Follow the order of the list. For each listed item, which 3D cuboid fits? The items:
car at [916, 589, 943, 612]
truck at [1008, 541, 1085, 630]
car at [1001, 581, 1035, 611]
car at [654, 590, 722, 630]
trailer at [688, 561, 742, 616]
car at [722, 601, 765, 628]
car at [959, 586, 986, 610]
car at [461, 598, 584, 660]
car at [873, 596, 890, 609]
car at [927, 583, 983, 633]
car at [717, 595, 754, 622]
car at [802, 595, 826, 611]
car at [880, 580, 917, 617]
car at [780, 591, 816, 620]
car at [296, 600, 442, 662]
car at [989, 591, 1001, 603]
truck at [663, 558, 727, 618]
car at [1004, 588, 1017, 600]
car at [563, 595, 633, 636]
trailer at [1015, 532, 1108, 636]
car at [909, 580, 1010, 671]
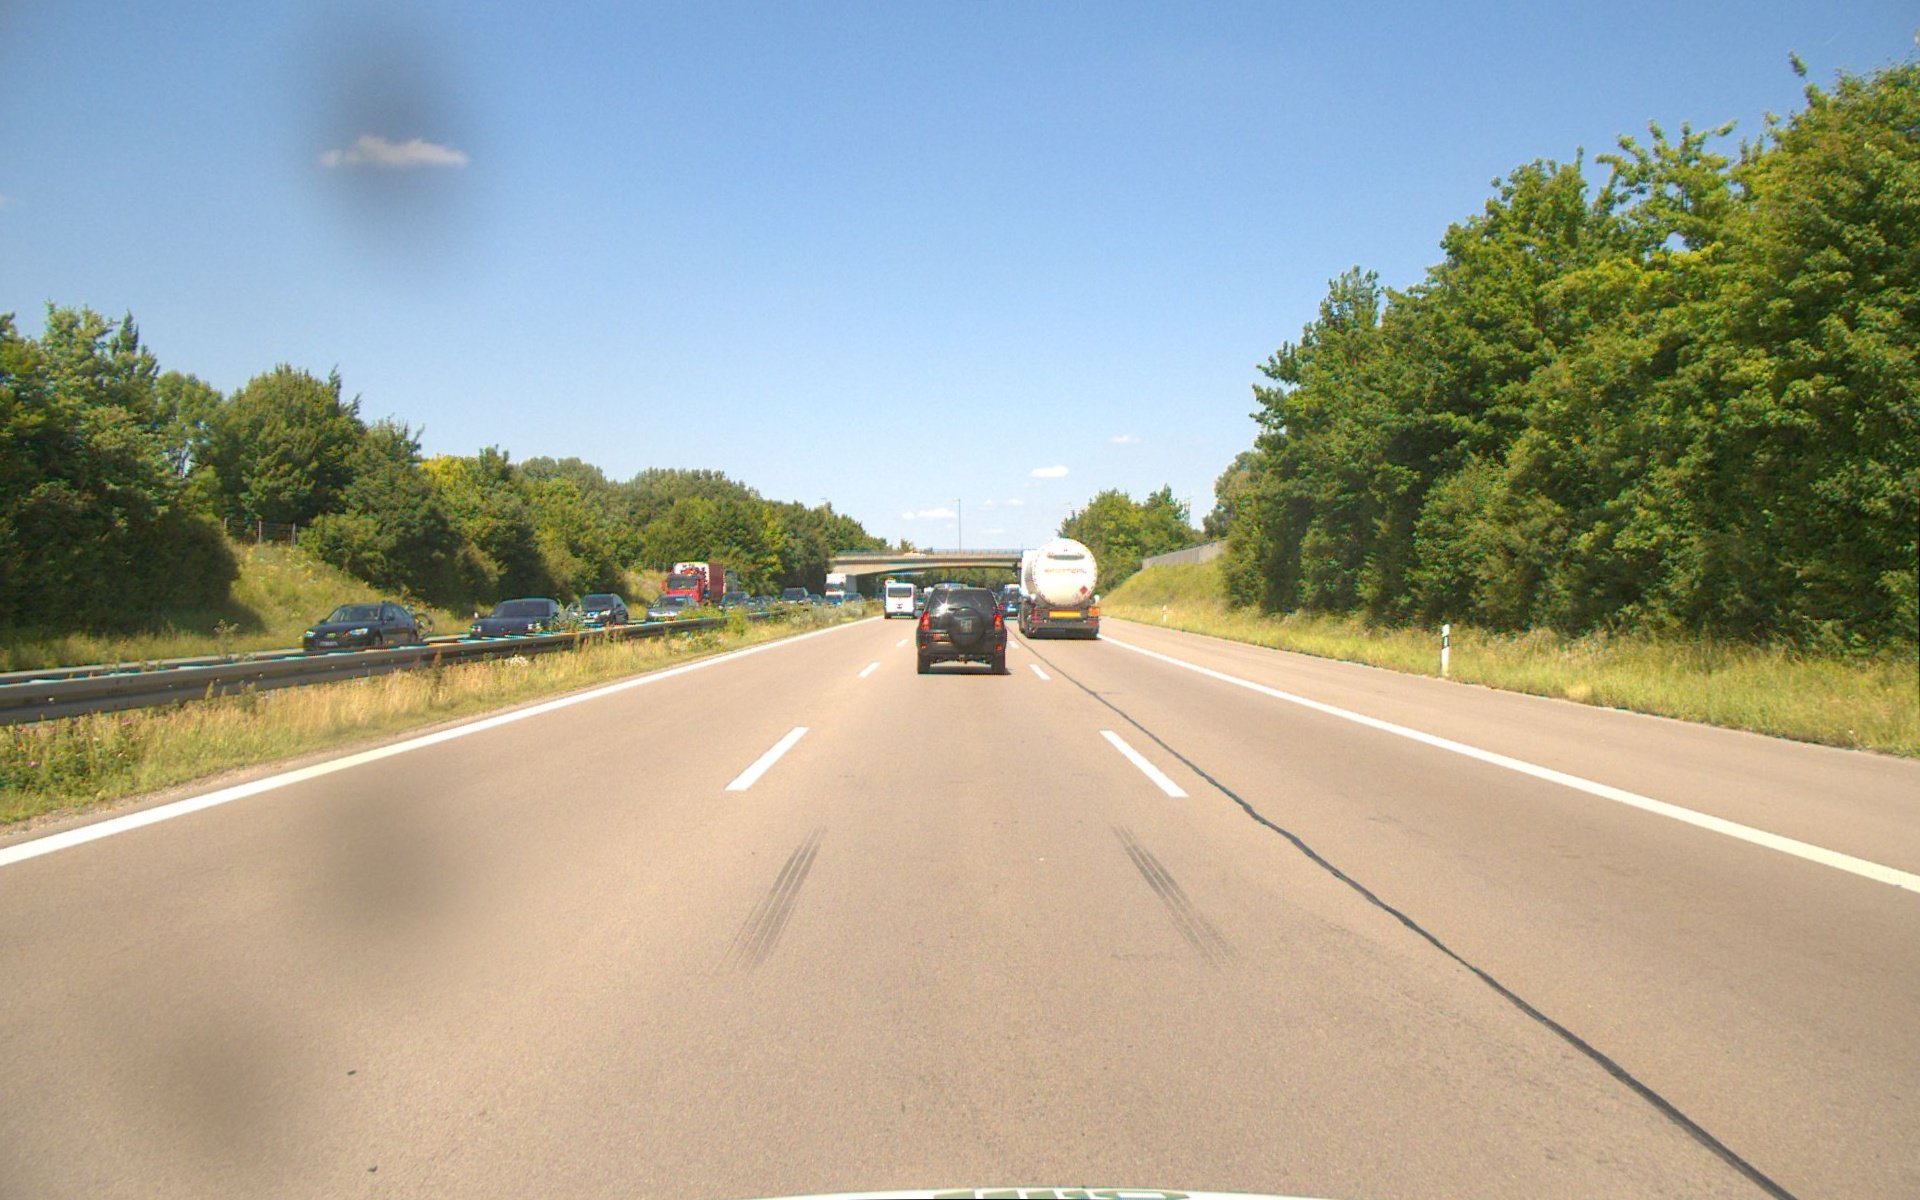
[{"bbox_3d":[-2.221,0.028,120.250,1.953,1.579,3.999,0,-1,-1],"label":"car"},{"bbox_3d":[3.442,-0.562,67.075,2.584,3.434,6.485,1,0,-2],"label":"truck"},{"bbox_3d":[3.404,-0.222,97.217,1.952,1.713,4.000,0,-1,1],"label":"car"},{"bbox_3d":[-10.853,0.371,66.325,1.914,1.509,4.346,-1,0,1],"label":"car"},{"bbox_3d":[-18.221,-0.861,123.363,2.624,3.835,8.407,-2,0,0],"label":"trailer"},{"bbox_3d":[-11.122,0.728,85.188,1.633,1.340,4.121,-1,0,0],"label":"car"},{"bbox_3d":[0.995,-0.186,127.152,1.952,1.780,4.206,-1,0,2],"label":"car"},{"bbox_3d":[-11.372,0.710,43.377,1.953,1.501,4.830,-1,0,0],"label":"car"},{"bbox_3d":[-11.096,0.311,234.112,1.952,1.811,4.262,-1,0,2],"label":"car"},{"bbox_3d":[-0.200,0.297,61.394,1.953,1.736,4.335,-1,0,0],"label":"car"},{"bbox_3d":[-14.858,0.549,109.536,1.953,1.719,4.264,-1,0,-1],"label":"car"},{"bbox_3d":[-13.779,0.317,156.390,1.856,1.363,4.763,-3,0,0],"label":"car"},{"bbox_3d":[-3.553,-0.068,96.508,1.953,2.049,4.949,-1,0,0],"label":"car"},{"bbox_3d":[-10.692,0.338,109.564,1.953,1.898,4.897,-1,0,-1],"label":"car"},{"bbox_3d":[-15.823,0.781,44.619,1.953,1.501,5.622,-1,0,0],"label":"car"},{"bbox_3d":[5.327,-0.510,254.480,1.775,1.777,4.000,-1,0,0],"label":"car"},{"bbox_3d":[-18.249,-0.826,114.506,2.624,3.835,9.919,-2,0,0],"label":"truck"},{"bbox_3d":[7.160,-0.850,233.796,1.775,1.777,4.000,-1,0,0],"label":"car"},{"bbox_3d":[-15.320,0.619,70.243,1.953,1.658,4.574,-1,0,0],"label":"car"},{"bbox_3d":[3.592,-0.552,61.023,2.594,3.449,11.150,1,0,-1],"label":"trailer"},{"bbox_3d":[0.019,0.477,32.823,1.867,1.694,4.000,0,0,1],"label":"car"}]
